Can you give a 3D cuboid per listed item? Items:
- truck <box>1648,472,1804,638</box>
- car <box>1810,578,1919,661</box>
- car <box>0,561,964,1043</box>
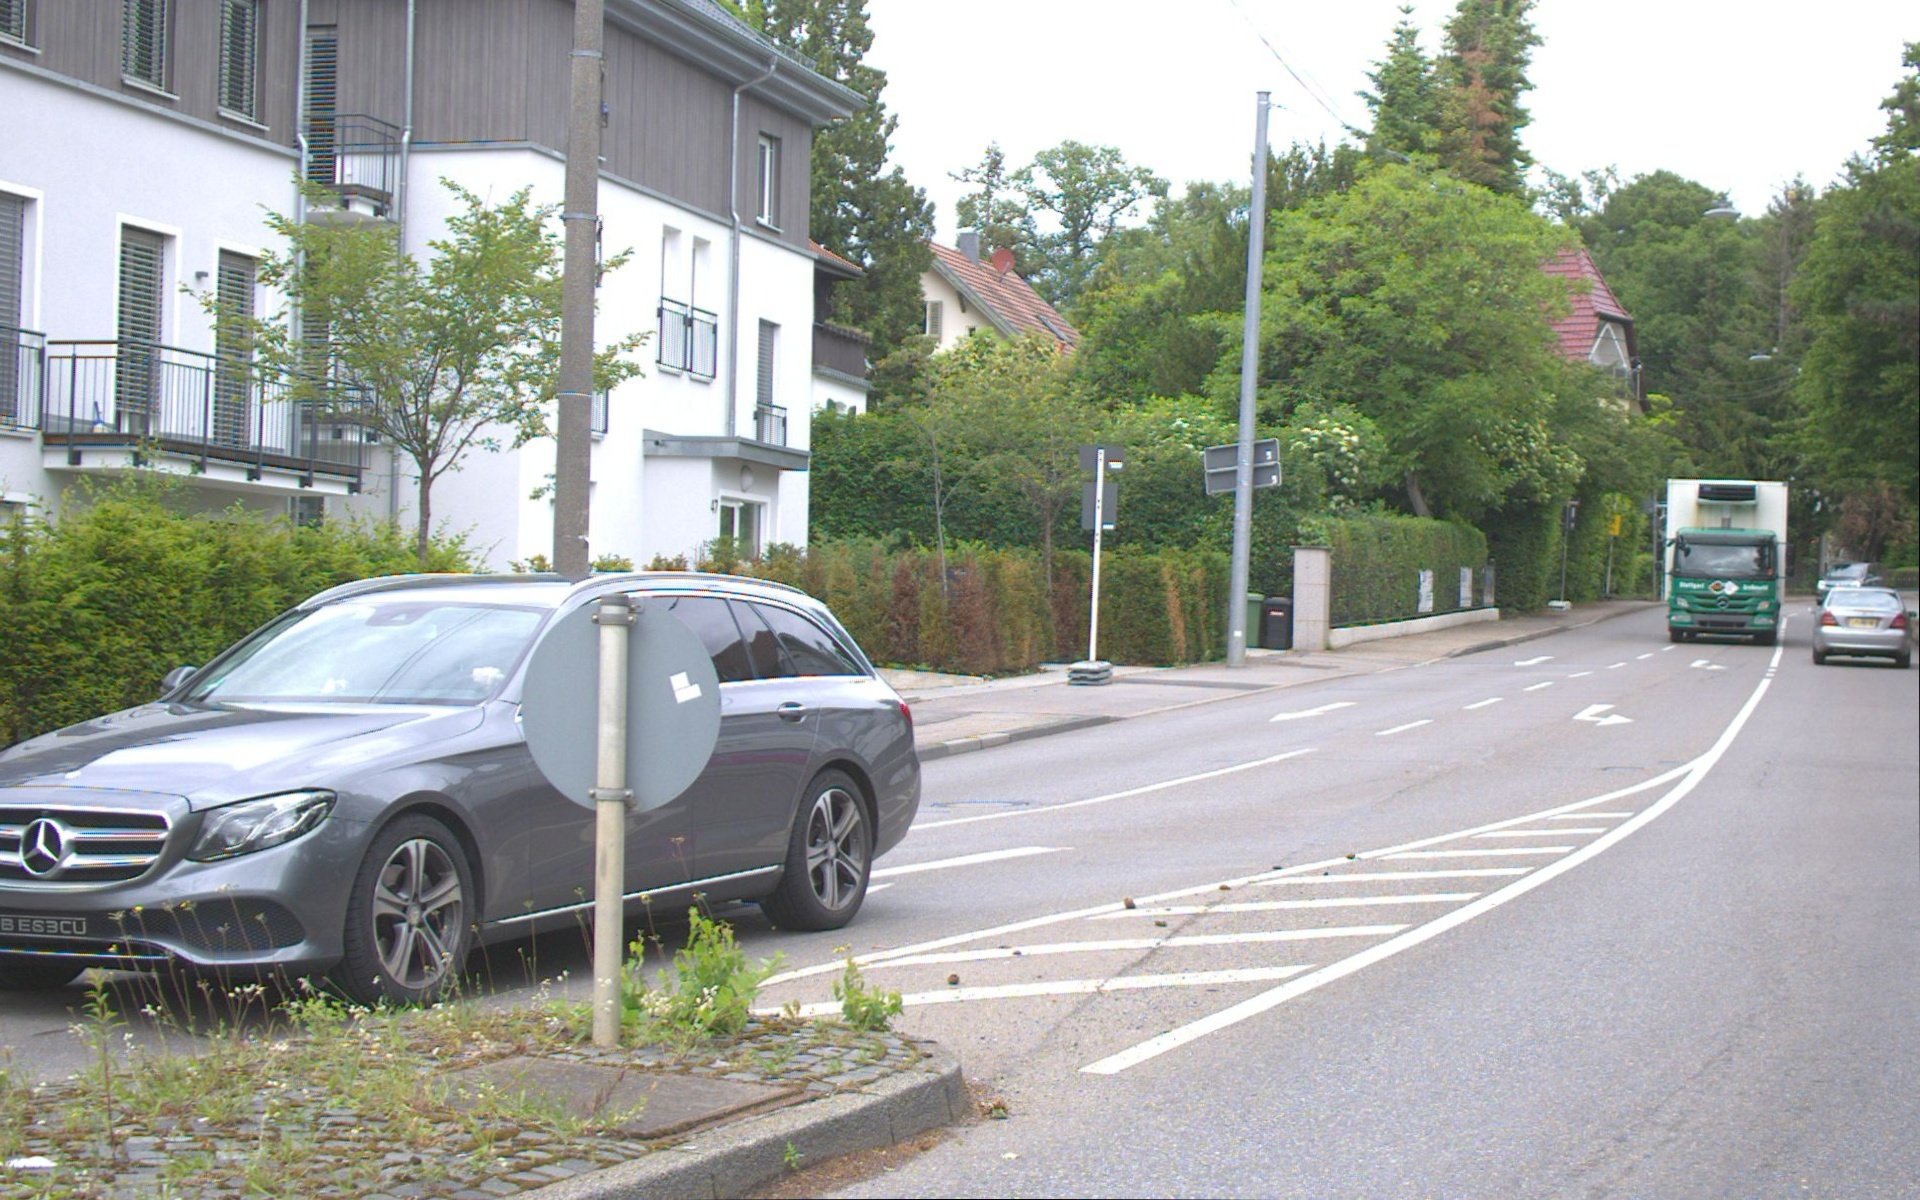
[{"bbox_3d":[16.874,-0.931,76.104,2.778,3.449,7.491,1,0,9],"label":"truck"},{"bbox_3d":[16.398,0.361,62.171,1.798,1.410,4.333,1,0,11],"label":"car"},{"bbox_3d":[-1.881,0.595,13.103,1.828,1.480,4.741,0,1,27],"label":"car"}]
